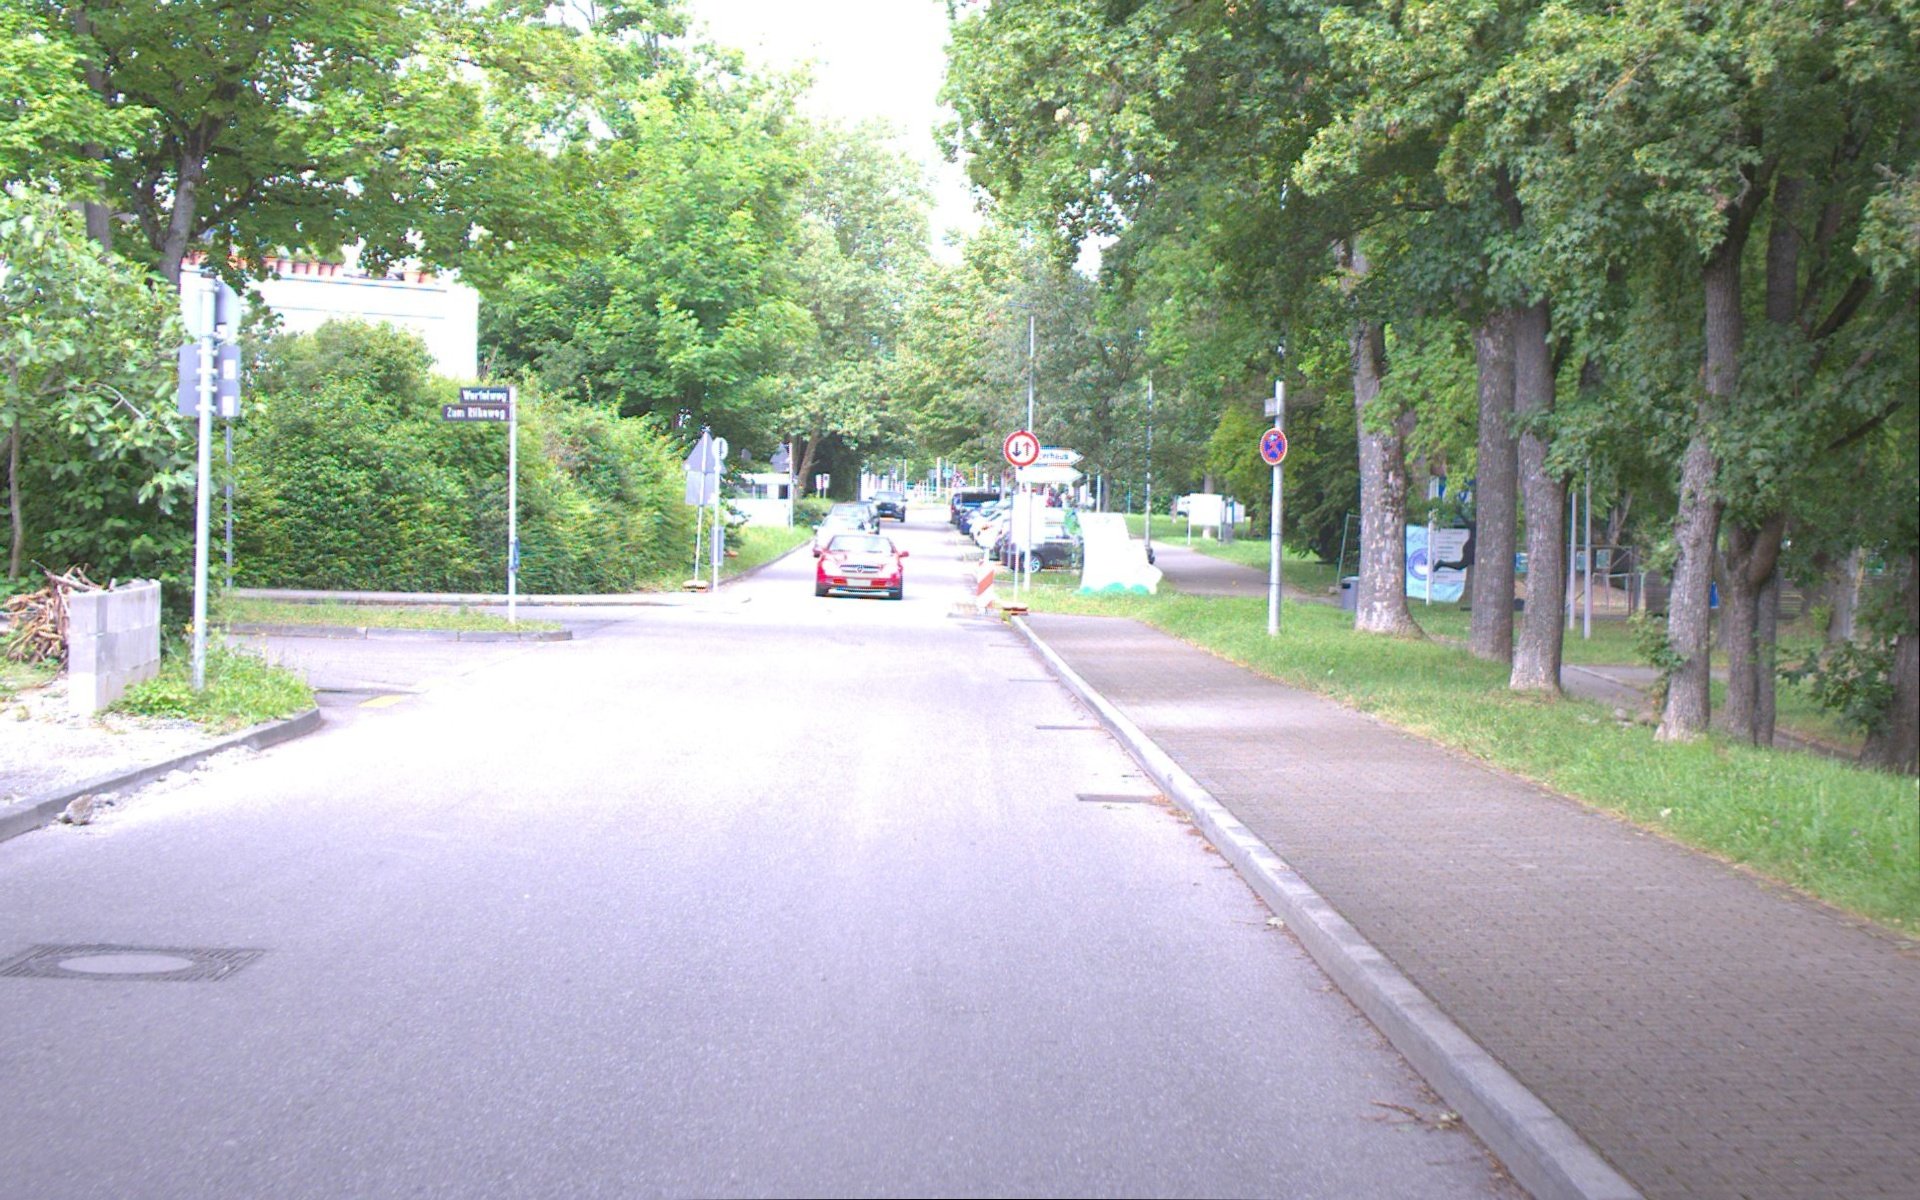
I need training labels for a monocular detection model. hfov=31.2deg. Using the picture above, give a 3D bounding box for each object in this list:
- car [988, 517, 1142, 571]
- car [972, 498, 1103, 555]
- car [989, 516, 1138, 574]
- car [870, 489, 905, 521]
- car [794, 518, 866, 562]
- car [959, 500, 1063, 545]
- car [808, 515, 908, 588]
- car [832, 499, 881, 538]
[{"bbox_3d":[2.833,-1.509,93.479,4.062,1.429,2.000,0,0,-1],"label":"car"},{"bbox_3d":[2.490,-2.395,111.217,4.062,1.681,1.823,-2,2,-4],"label":"car"},{"bbox_3d":[2.869,-1.525,95.742,4.062,1.563,1.822,0,0,-1],"label":"car"},{"bbox_3d":[-4.169,-5.466,197.375,1.968,1.741,4.339,2,2,-2],"label":"car"},{"bbox_3d":[-4.104,-1.932,109.245,1.781,1.302,4.295,2,2,4],"label":"car"},{"bbox_3d":[2.063,-3.170,140.724,4.062,1.681,1.823,-2,2,-4],"label":"car"},{"bbox_3d":[-2.078,-0.998,69.031,1.750,1.331,4.066,2,2,-5],"label":"car"},{"bbox_3d":[-4.391,-3.486,146.341,1.803,1.586,4.296,2,2,1],"label":"car"}]
